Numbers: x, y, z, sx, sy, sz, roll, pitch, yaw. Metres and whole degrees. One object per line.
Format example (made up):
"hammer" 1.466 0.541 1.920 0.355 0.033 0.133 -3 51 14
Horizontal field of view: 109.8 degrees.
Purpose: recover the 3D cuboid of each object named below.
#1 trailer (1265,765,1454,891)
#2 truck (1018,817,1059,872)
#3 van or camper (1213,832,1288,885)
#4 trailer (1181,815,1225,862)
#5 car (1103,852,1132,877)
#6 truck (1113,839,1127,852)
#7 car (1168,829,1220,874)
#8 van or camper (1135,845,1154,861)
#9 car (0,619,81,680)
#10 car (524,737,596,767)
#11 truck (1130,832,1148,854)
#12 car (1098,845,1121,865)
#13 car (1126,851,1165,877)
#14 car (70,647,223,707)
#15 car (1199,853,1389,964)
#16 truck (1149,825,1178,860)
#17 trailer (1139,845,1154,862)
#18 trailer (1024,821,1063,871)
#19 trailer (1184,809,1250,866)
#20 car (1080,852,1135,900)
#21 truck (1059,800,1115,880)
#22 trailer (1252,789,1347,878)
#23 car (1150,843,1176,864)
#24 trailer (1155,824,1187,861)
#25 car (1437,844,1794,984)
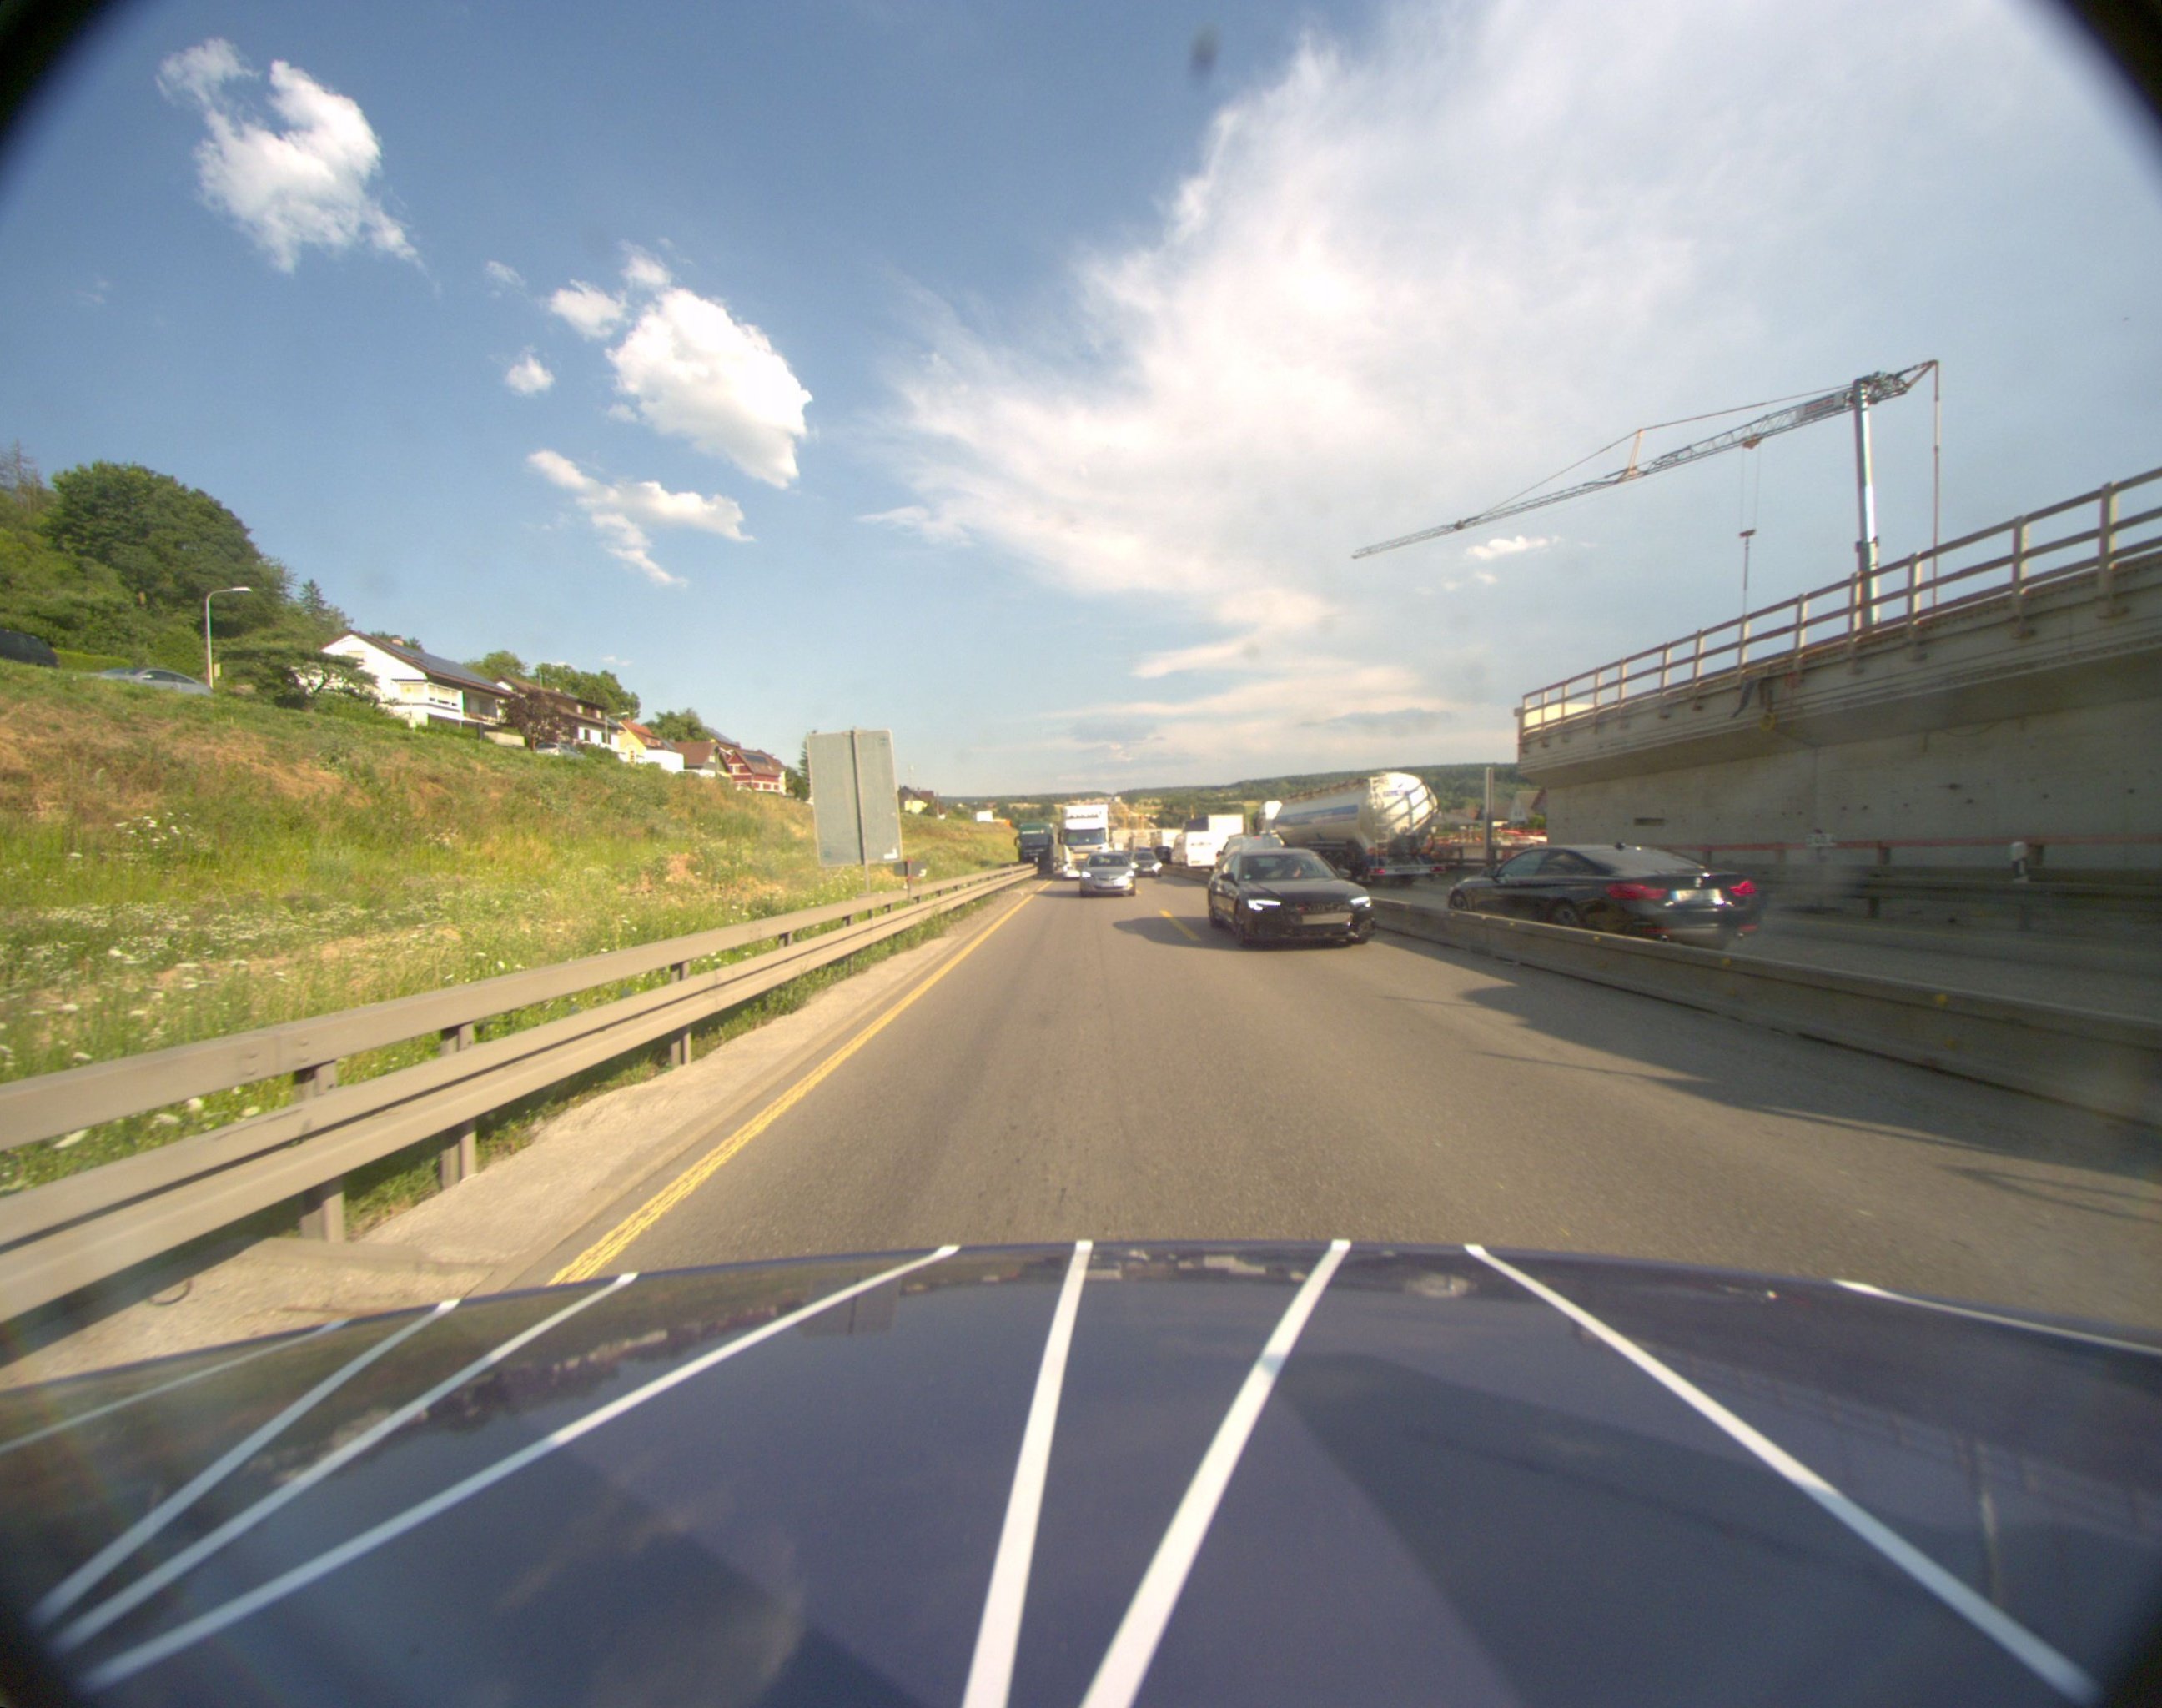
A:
"trailer" 10.356 -0.886 30.503 2.659 3.828 13.441 -2 1 0
"truck" -3.252 -0.734 59.445 2.547 3.992 6.071 -2 1 1
"van or camper" 7.080 0.134 32.326 1.863 2.002 5.294 -2 1 -1
"trailer" 10.912 -1.365 68.675 2.932 4.013 6.222 -2 1 1
"car" 2.715 0.758 57.115 1.998 1.739 4.000 -1 0 0
"truck" 12.352 -2.633 241.173 3.876 3.766 9.141 -2 1 1
"car" 7.190 -0.206 49.062 1.999 2.607 7.408 -2 1 -1
"van or camper" 7.615 -0.123 91.896 1.868 1.881 5.003 -2 1 1
"car" -32.879 -6.295 22.914 1.348 1.315 3.340 -2 1 -11
"car" -34.943 -6.805 51.050 1.998 1.434 4.000 -2 1 0
"truck" 11.064 -2.110 146.121 2.873 4.038 7.598 -2 1 1
"car" 2.656 0.097 70.731 1.918 1.746 4.000 -1 0 -1
"car" 3.558 0.524 42.532 1.692 1.293 3.882 -2 1 -1
"car" -33.702 -6.345 27.560 1.451 1.364 3.554 -2 1 -10
"car" 3.207 0.733 12.402 1.873 1.411 4.348 -1 0 0
"truck" 10.995 -1.518 101.950 2.834 4.239 10.071 -2 1 1
"trailer" 7.550 -0.078 87.878 1.452 1.843 2.984 -2 1 1
"trailer" -3.125 -0.722 66.824 2.554 3.911 12.077 -2 1 1
"trailer" 10.820 -1.292 61.973 2.932 4.013 13.773 -2 1 1
"car" 0.835 0.679 25.223 1.671 1.425 3.524 -1 1 0
"truck" 0.430 -0.800 45.649 2.741 4.033 12.669 -2 1 1
"trailer" 10.385 -0.952 36.772 2.659 3.828 6.428 -2 1 0
"car" 7.462 -0.065 69.595 1.785 1.832 4.852 -2 1 0
"trailer" 10.910 -1.372 92.593 2.834 4.258 8.734 -2 1 1
"car" 6.805 0.621 10.443 1.713 1.437 4.599 -2 1 1
